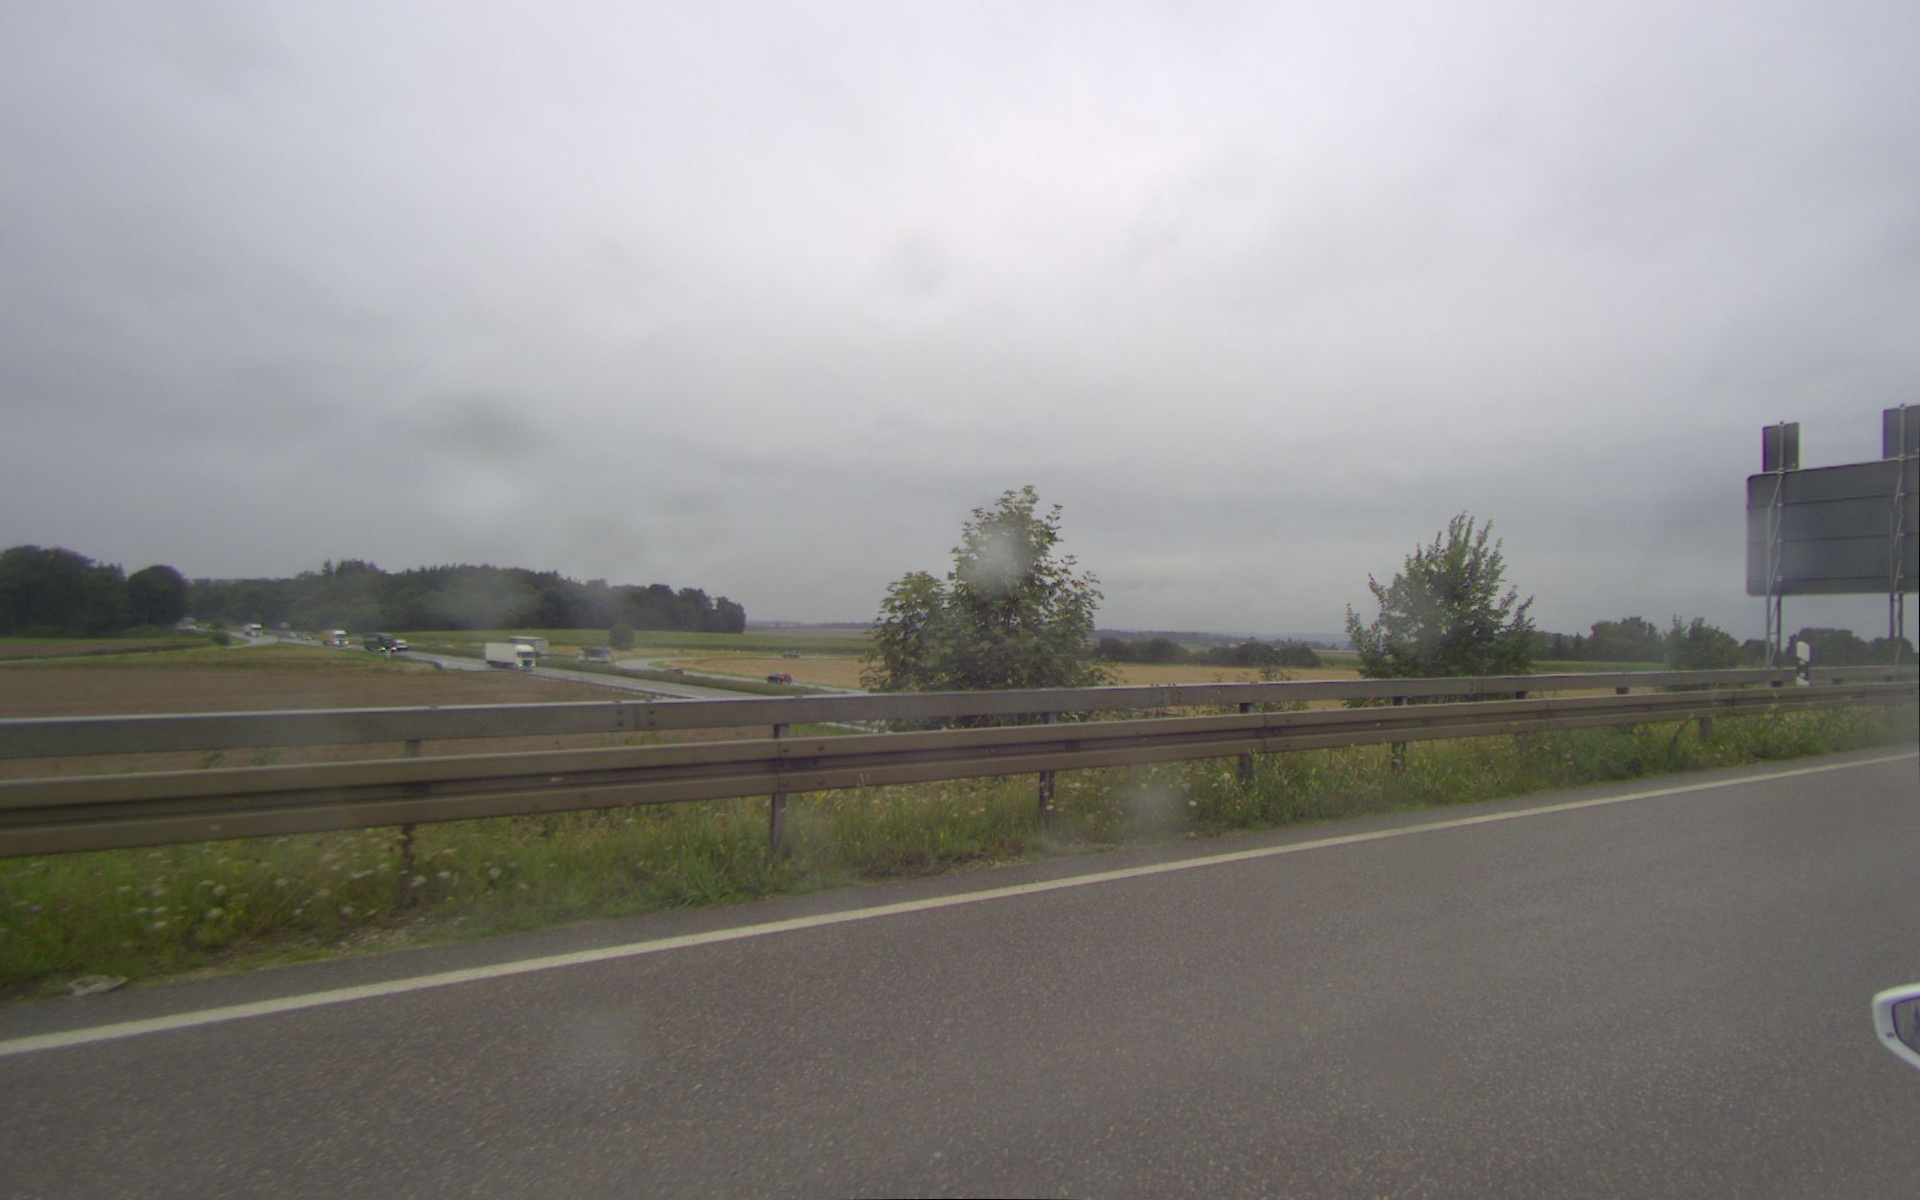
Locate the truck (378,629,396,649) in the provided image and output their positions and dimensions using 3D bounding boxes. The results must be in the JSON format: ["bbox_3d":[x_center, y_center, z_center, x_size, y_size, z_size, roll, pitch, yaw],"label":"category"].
[{"bbox_3d":[-128.454,8.737,225.132,2.219,3.749,9.748,1,2,-37],"label":"truck"}]

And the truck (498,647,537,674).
[{"bbox_3d":[-72.380,9.846,164.232,2.765,3.920,10.515,3,-2,-41],"label":"truck"}]
